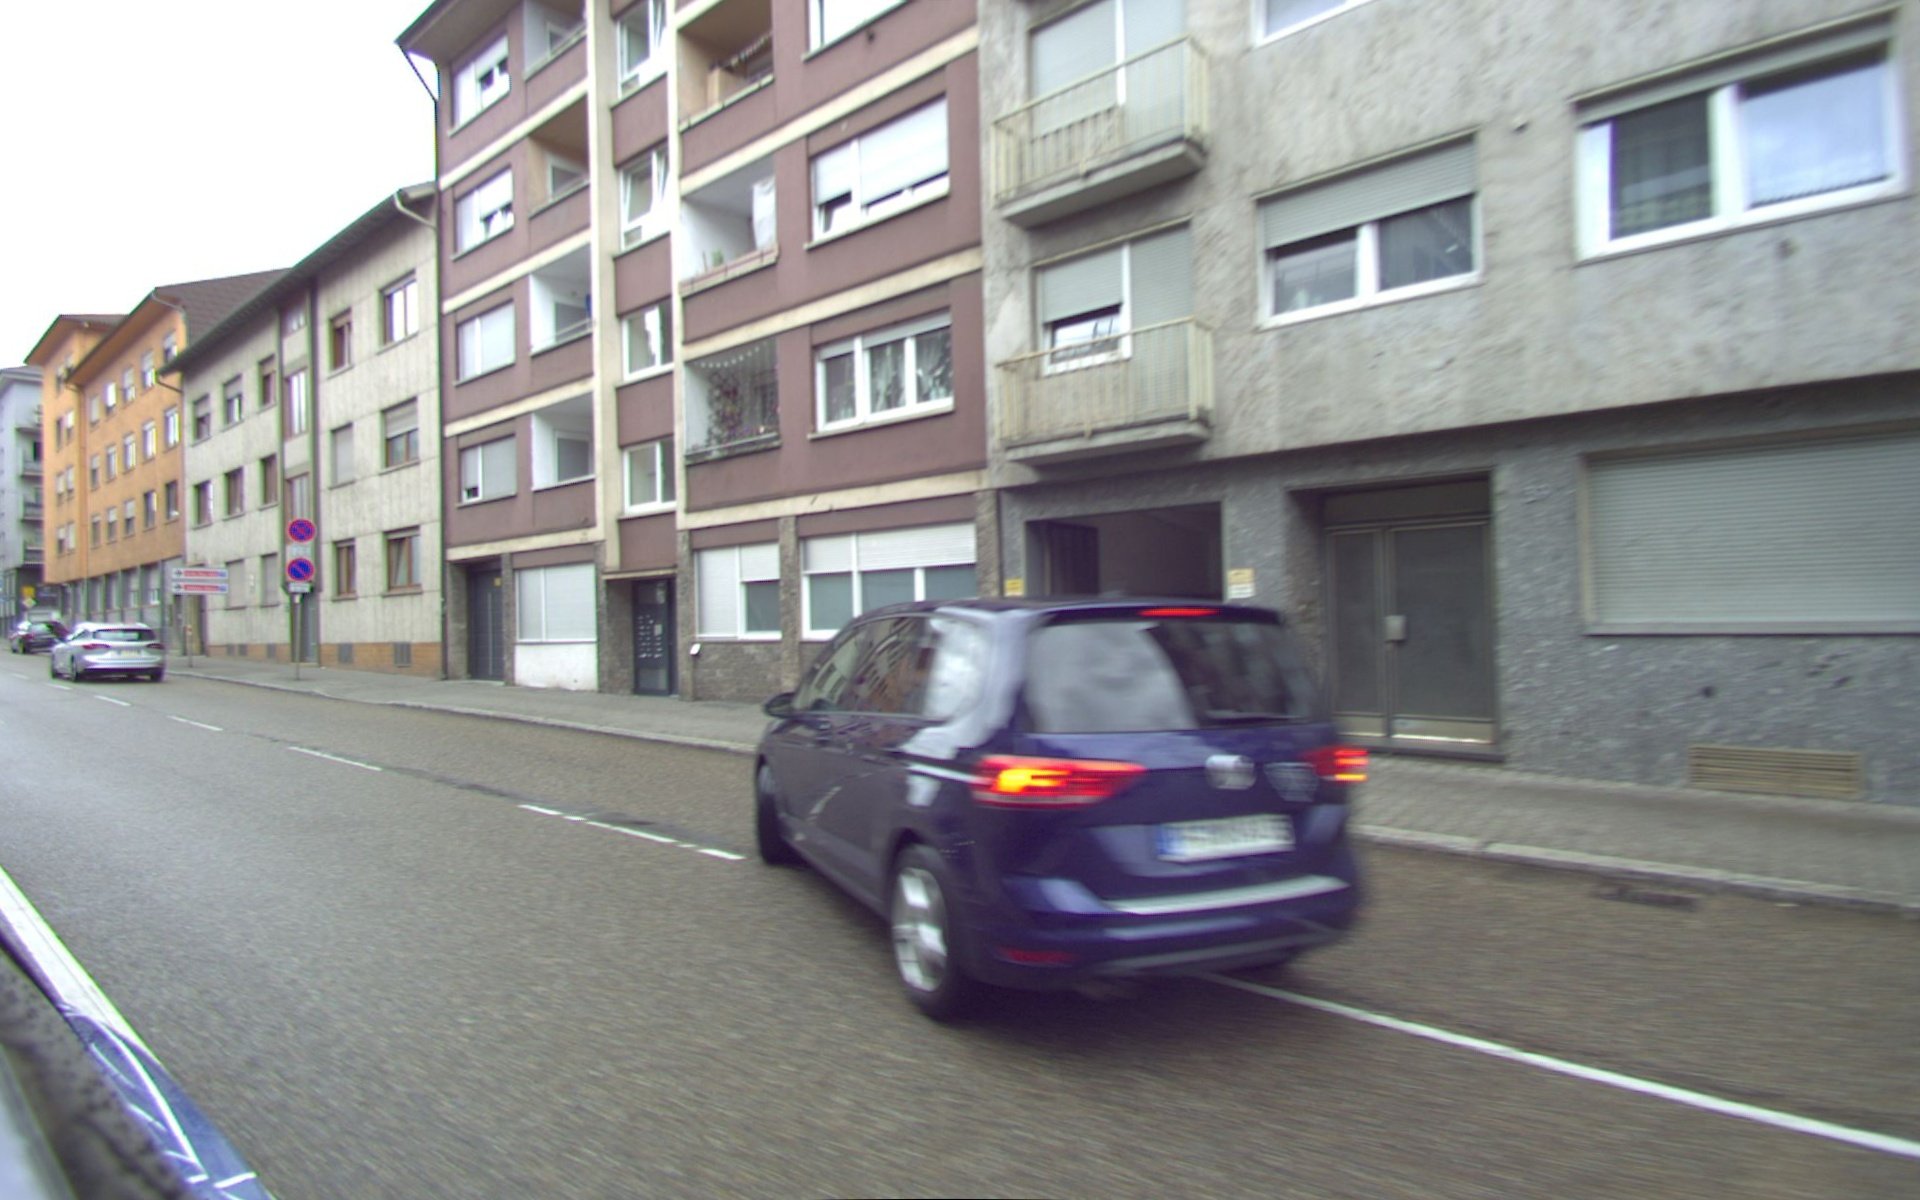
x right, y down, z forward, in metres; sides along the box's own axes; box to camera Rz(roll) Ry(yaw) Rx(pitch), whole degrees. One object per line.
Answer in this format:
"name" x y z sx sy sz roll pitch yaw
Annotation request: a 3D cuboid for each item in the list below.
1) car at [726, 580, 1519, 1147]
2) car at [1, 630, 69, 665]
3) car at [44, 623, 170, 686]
"car" 0.220 0.761 5.223 1.965 1.587 4.323 -1 -1 -24
"car" -42.525 2.144 46.498 3.799 1.466 1.687 -1 0 38
"car" -21.655 1.349 25.643 4.069 1.472 1.710 -1 -4 40
